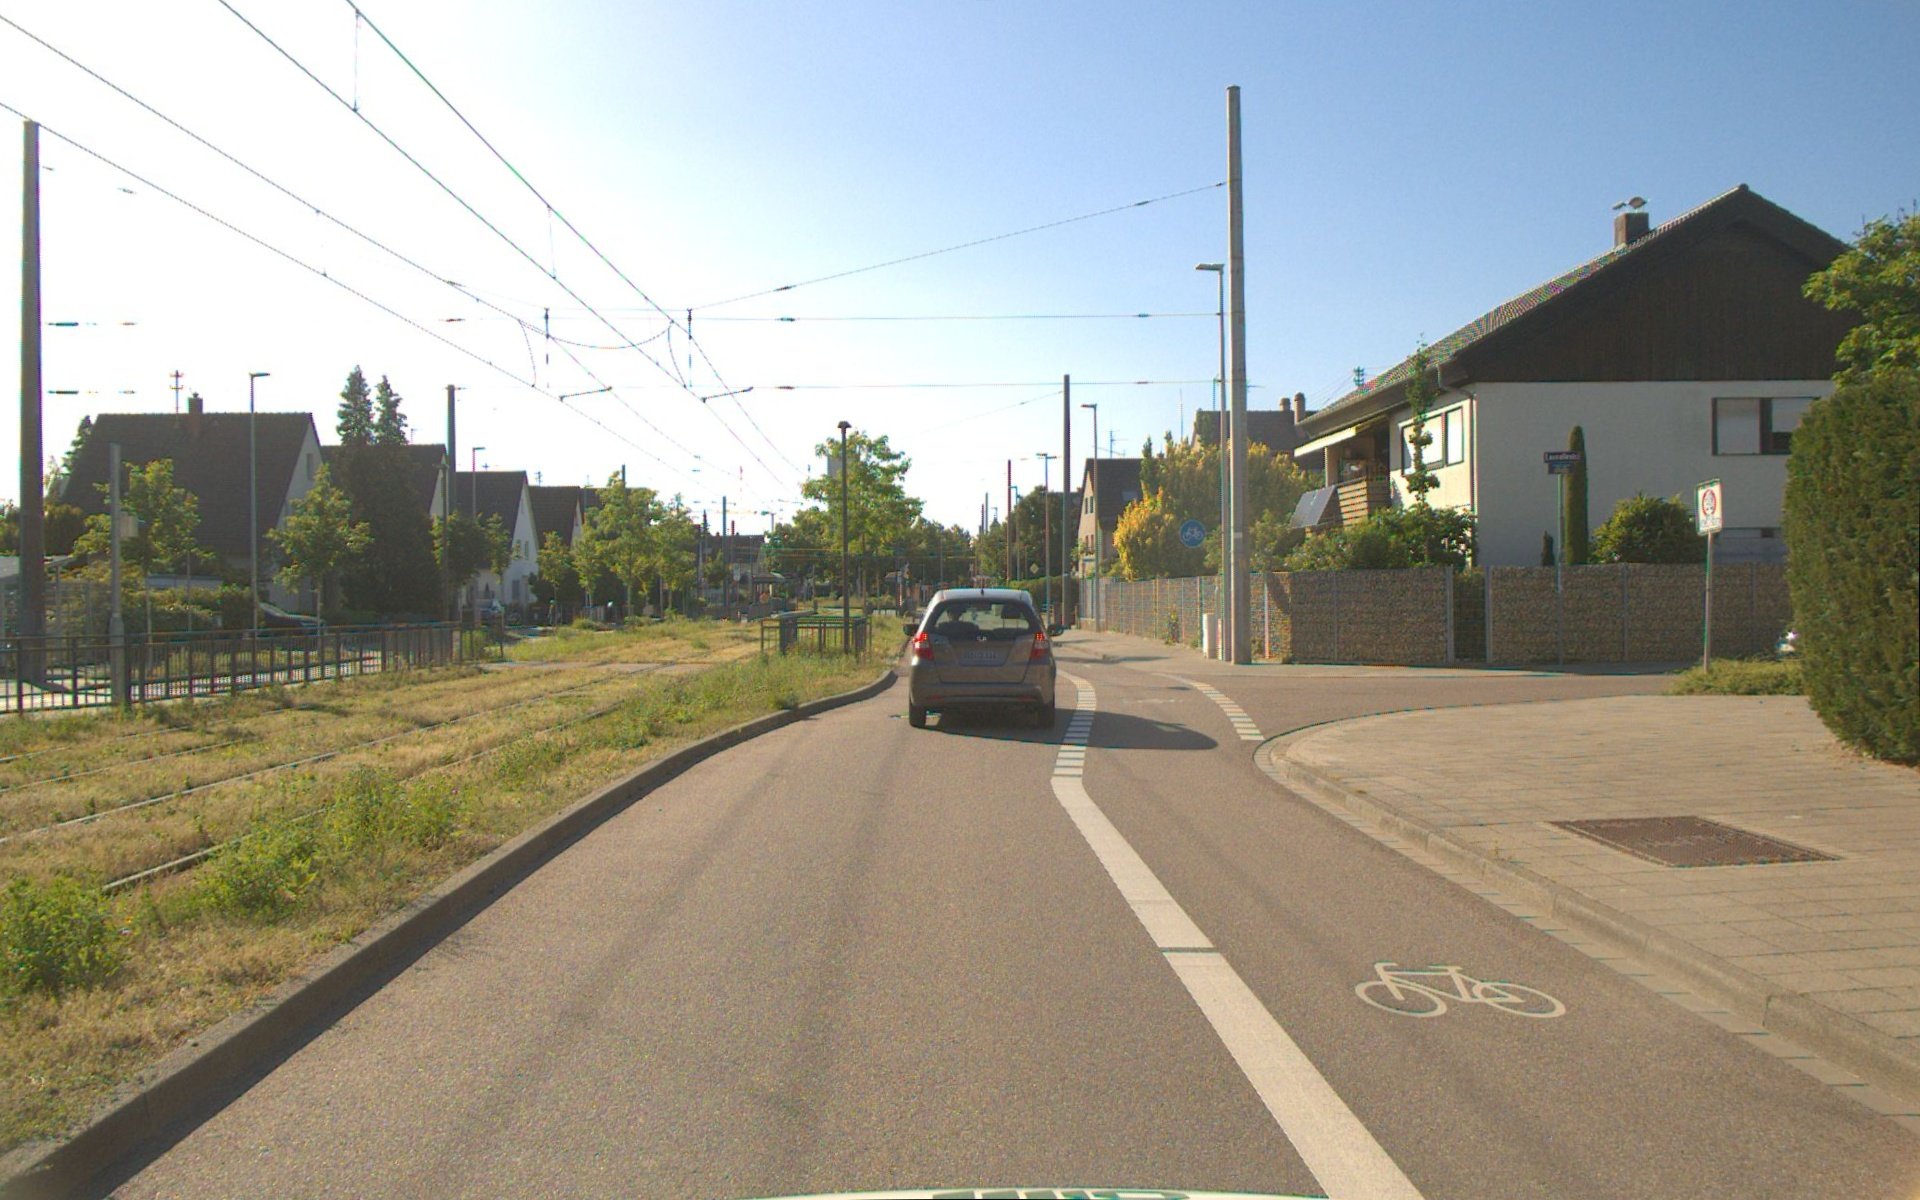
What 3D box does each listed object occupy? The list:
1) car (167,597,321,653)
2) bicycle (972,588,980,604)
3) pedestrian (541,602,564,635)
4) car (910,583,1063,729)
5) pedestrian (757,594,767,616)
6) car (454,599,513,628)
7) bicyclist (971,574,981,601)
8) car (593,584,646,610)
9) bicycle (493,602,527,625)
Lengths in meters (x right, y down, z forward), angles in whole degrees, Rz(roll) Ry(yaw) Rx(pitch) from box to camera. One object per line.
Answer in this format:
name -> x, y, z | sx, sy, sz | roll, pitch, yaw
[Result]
car -> -24.429, 0.840, 56.578 | 4.462, 1.765, 2.046 | -1, 0, -13
bicycle -> 1.066, -0.252, 108.639 | 0.465, 0.978, 1.656 | 1, -1, -1
pedestrian -> -21.225, 0.965, 86.144 | 0.945, 1.669, 1.085 | -1, 0, -2
car -> 0.322, 0.593, 19.490 | 1.636, 1.562, 3.487 | 0, 0, 1
pedestrian -> -13.938, 0.364, 116.707 | 0.662, 1.562, 0.748 | -1, 0, -6
car -> -26.104, 0.715, 90.780 | 1.895, 1.475, 5.161 | -1, 0, -2
bicyclist -> 1.035, -0.837, 108.479 | 0.586, 1.731, 0.683 | 1, -1, -1
car -> -26.159, -0.216, 127.177 | 3.913, 2.004, 1.929 | 1, -1, -9
bicycle -> -27.861, 0.851, 102.419 | 1.951, 1.389, 0.703 | -1, 0, -8
